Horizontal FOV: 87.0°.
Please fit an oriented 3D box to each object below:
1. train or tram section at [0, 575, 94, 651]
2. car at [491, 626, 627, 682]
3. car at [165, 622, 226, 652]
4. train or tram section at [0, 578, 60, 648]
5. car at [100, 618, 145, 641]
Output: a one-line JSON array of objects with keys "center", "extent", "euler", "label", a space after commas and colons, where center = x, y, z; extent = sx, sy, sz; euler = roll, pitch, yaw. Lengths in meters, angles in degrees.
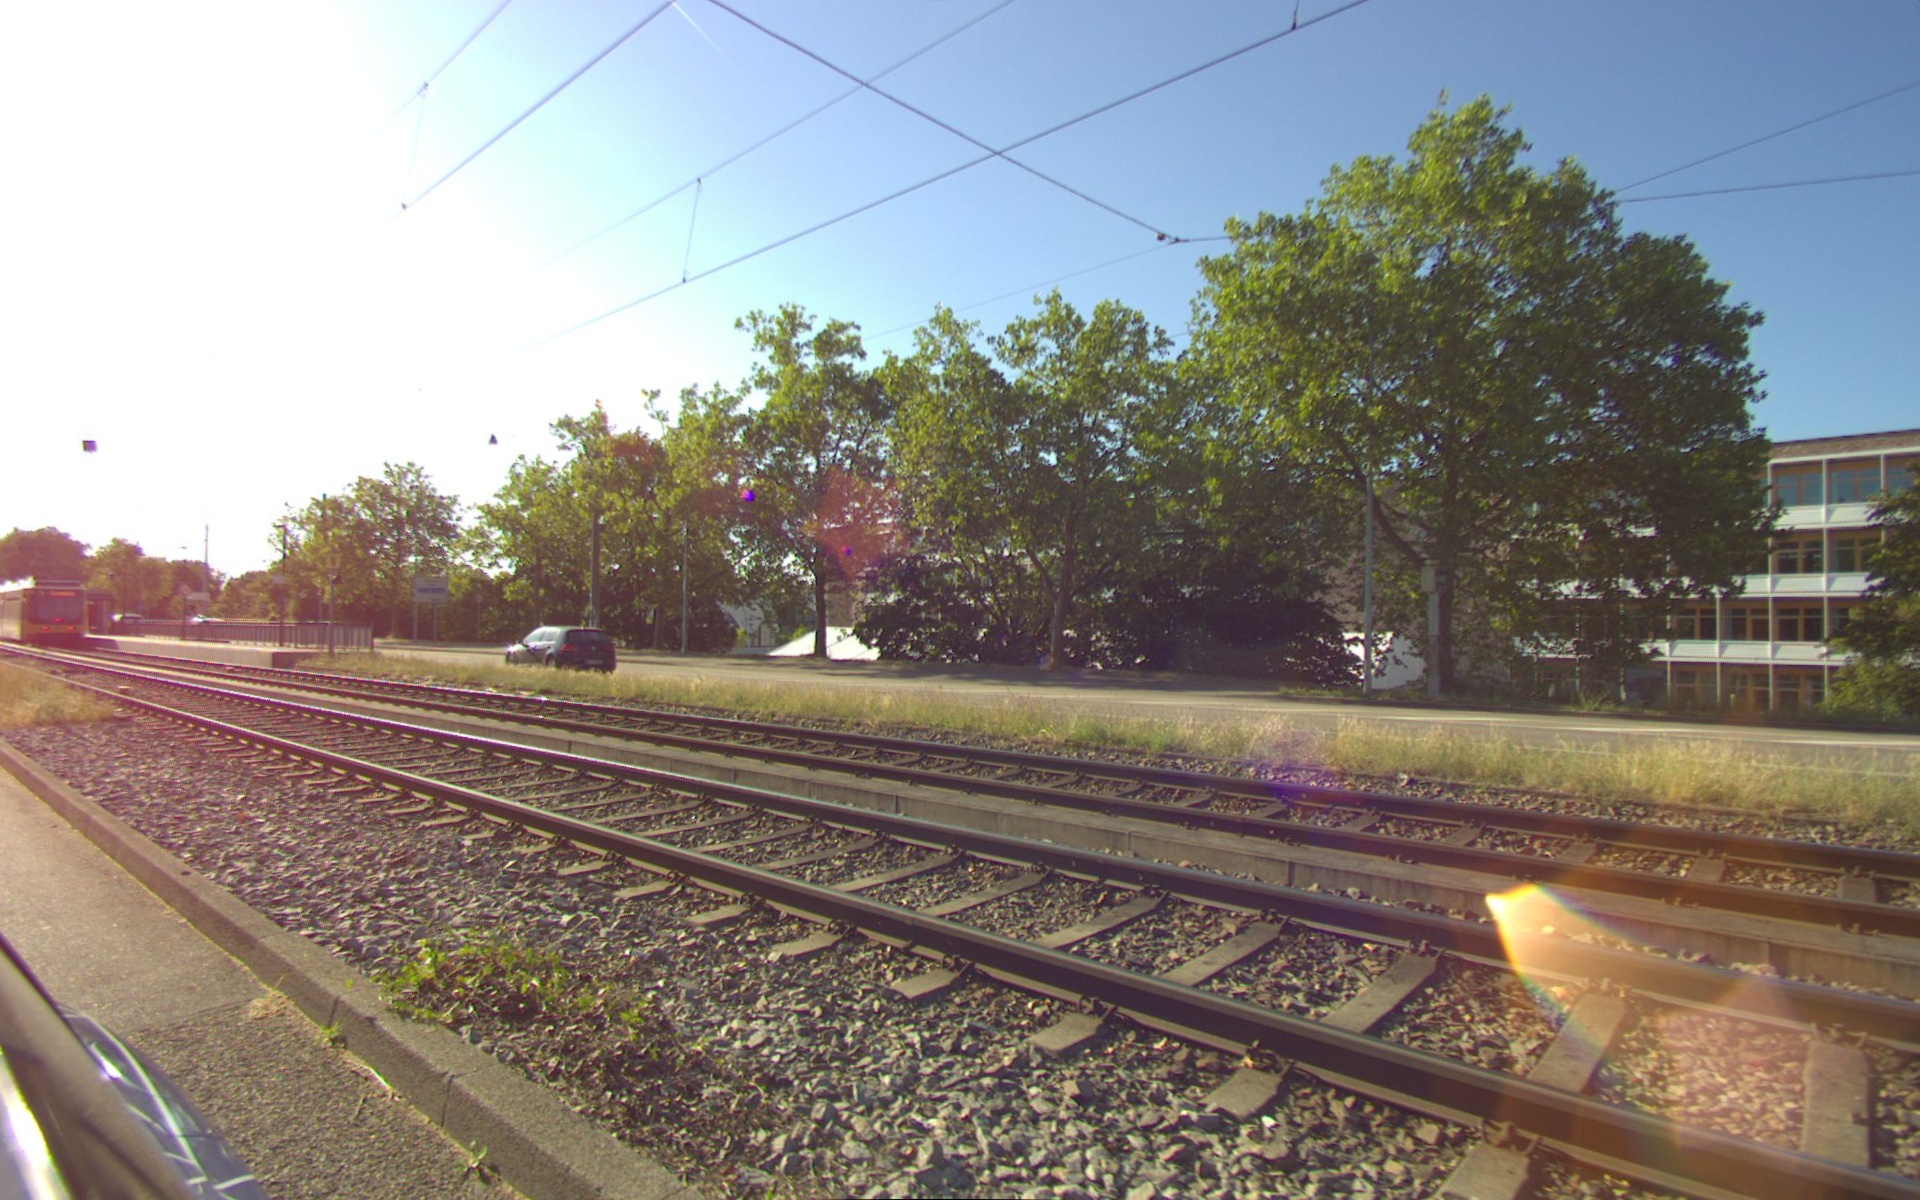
[{"center": [-49.853, 0.700, 54.931], "extent": [12.967, 3.715, 2.797], "euler": [-1, -1, 43], "label": "train or tram section"}, {"center": [-11.317, 1.463, 28.425], "extent": [4.488, 1.436, 1.754], "euler": [-1, -2, 43], "label": "car"}, {"center": [-43.786, 2.084, 57.916], "extent": [4.542, 1.573, 1.972], "euler": [-1, -1, 42], "label": "car"}, {"center": [-60.458, 0.857, 64.732], "extent": [15.873, 4.036, 2.797], "euler": [-1, -1, 43], "label": "train or tram section"}, {"center": [-61.768, 2.148, 74.609], "extent": [4.334, 1.573, 1.972], "euler": [-1, -1, 42], "label": "car"}]
